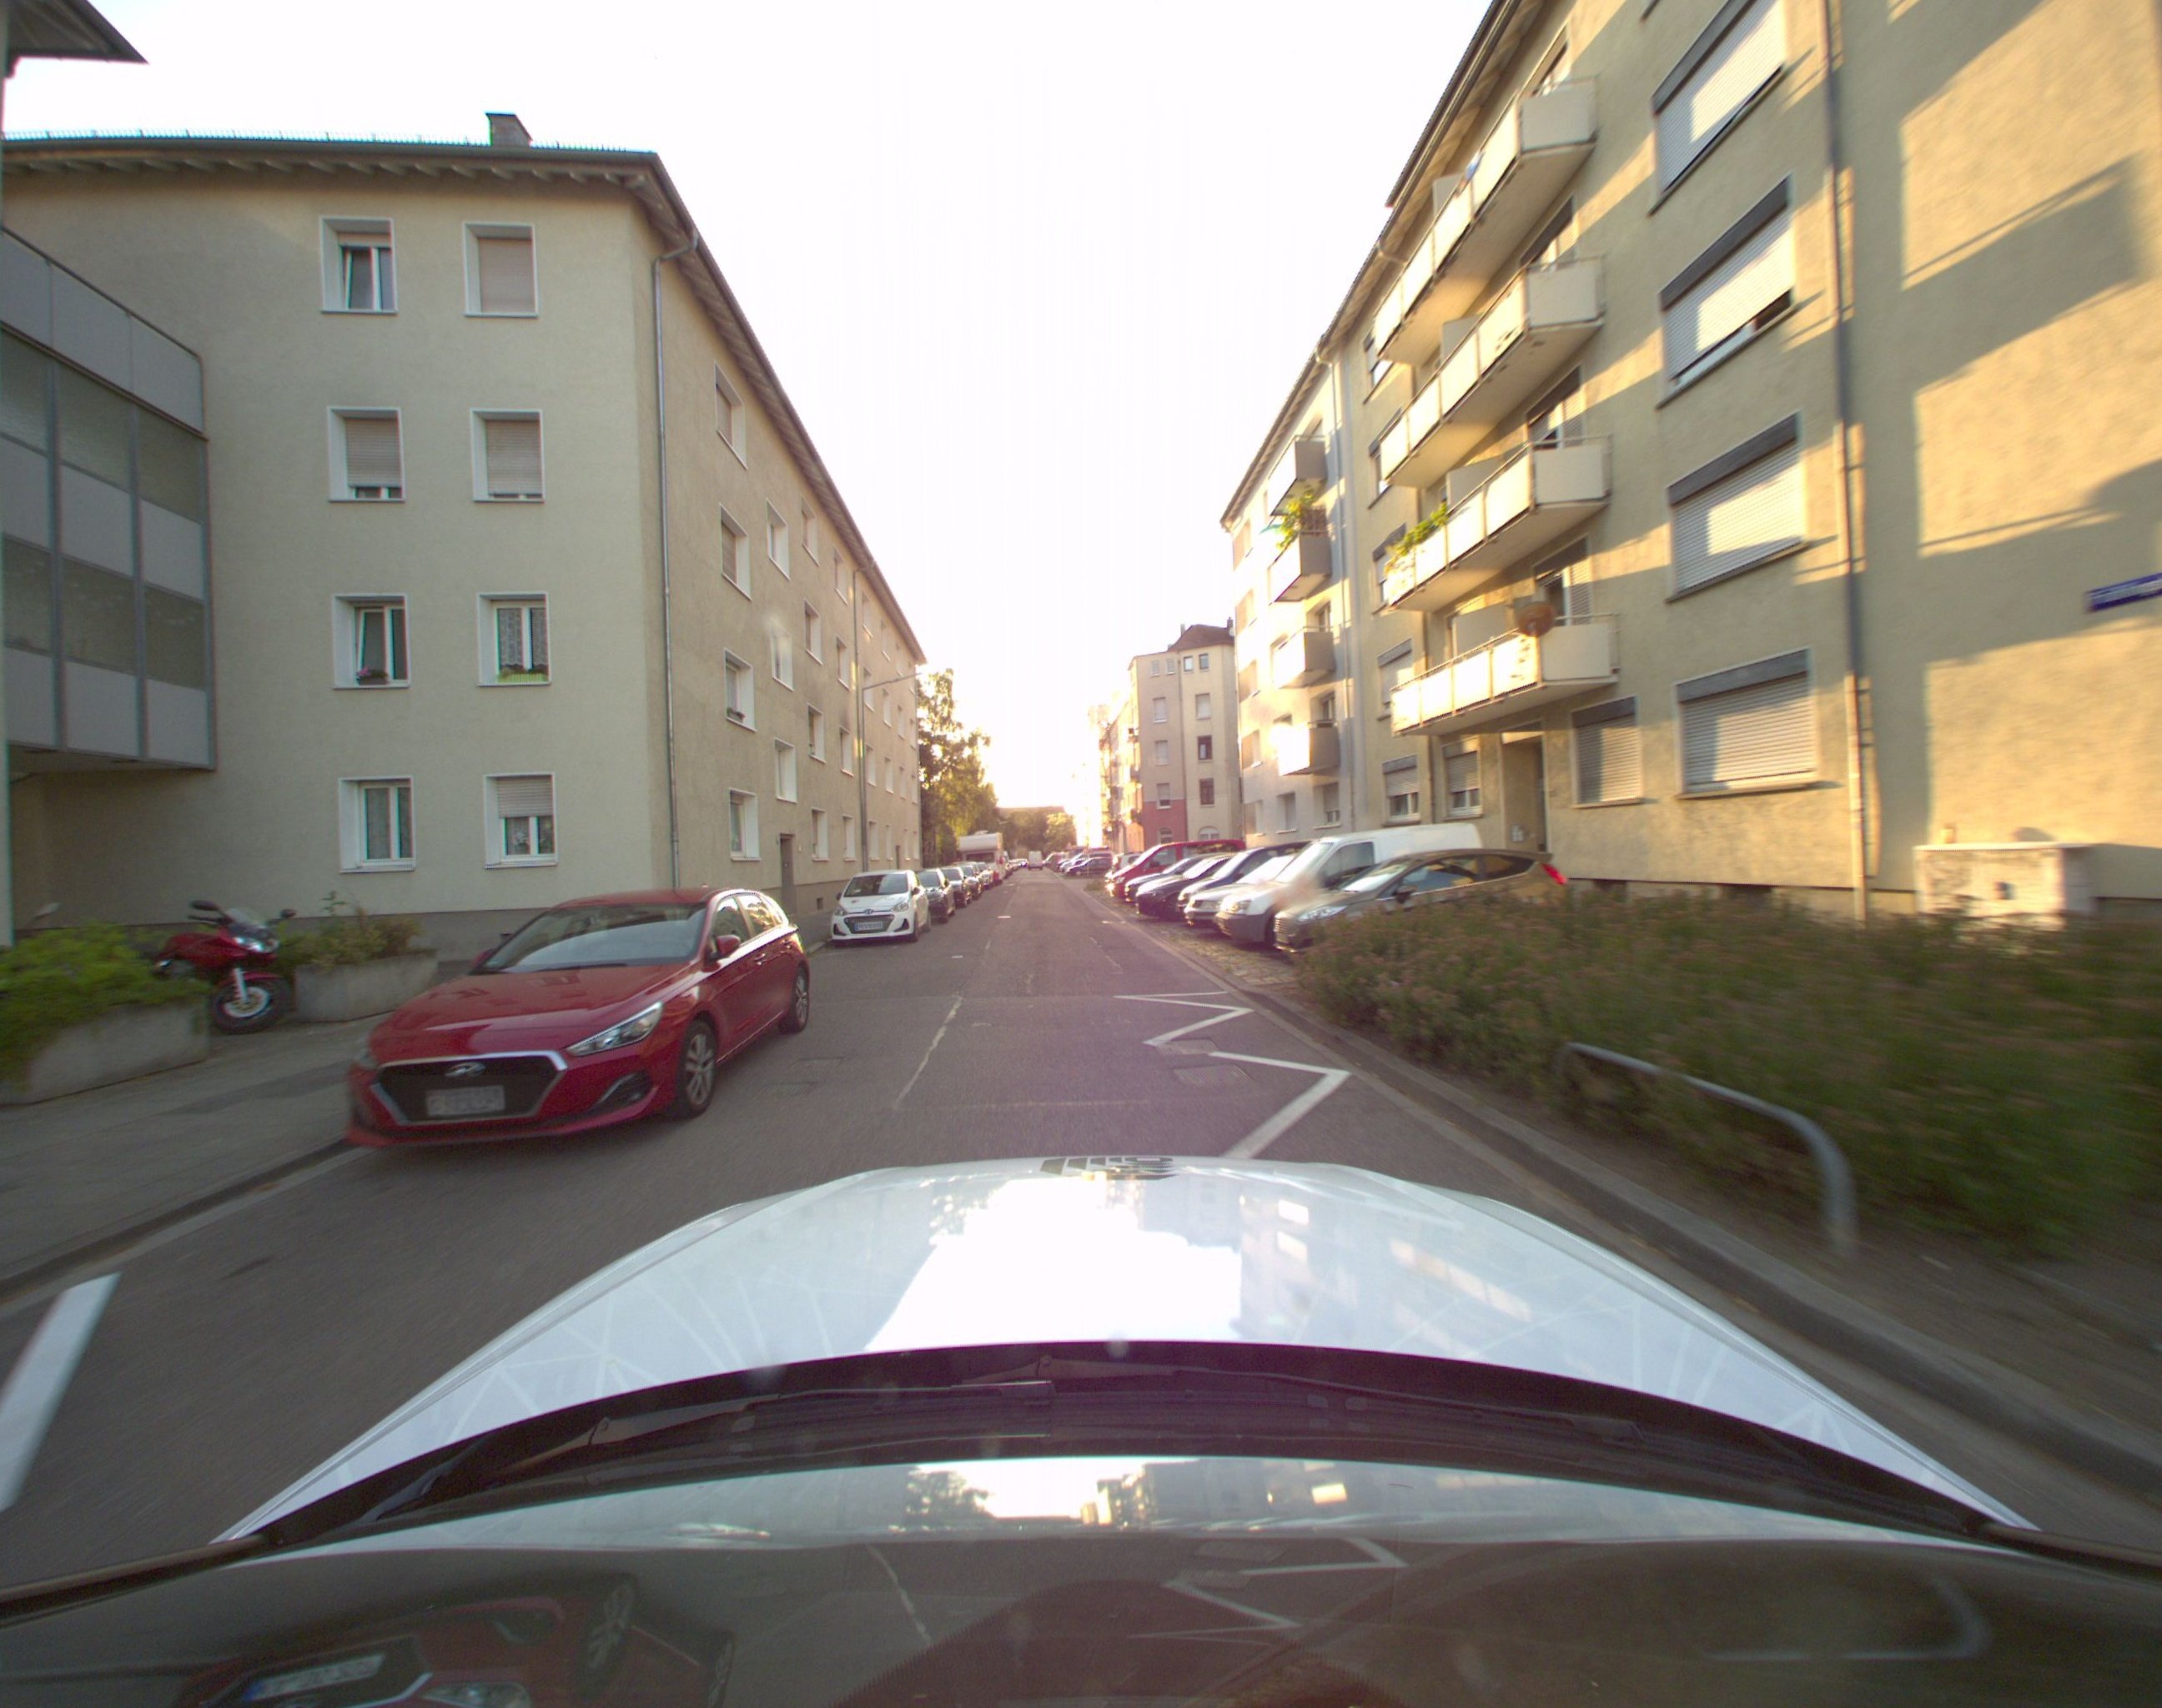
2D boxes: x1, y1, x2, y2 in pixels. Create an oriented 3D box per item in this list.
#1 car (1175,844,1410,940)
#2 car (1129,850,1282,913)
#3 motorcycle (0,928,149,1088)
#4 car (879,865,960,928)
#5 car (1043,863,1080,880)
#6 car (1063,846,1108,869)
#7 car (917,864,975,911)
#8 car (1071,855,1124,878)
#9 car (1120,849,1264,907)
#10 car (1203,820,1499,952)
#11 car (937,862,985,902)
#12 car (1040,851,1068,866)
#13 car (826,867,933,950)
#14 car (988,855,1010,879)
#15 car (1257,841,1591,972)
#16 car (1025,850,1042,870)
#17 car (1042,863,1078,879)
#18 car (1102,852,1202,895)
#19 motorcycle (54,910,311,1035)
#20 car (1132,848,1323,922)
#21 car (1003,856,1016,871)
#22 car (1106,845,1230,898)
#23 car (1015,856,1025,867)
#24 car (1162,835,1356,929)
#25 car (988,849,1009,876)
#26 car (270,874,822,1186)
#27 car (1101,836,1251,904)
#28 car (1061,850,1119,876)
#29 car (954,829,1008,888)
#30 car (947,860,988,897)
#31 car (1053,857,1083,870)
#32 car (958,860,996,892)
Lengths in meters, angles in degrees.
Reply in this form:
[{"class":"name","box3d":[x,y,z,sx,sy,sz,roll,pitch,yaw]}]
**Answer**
[{"class":"car","box3d":[3.908,0.675,15.450,3.947,1.522,1.704,-3,0,-4]},{"class":"car","box3d":[3.395,0.745,22.589,3.870,1.416,1.633,-4,-1,-6]},{"class":"motorcycle","box3d":[-8.229,1.176,5.881,0.680,1.079,2.032,-2,0,-2]},{"class":"car","box3d":[-4.373,1.106,22.581,1.657,1.434,4.024,-4,0,-5]},{"class":"car","box3d":[-2.194,1.915,90.425,3.980,1.530,1.656,-4,0,-5]},{"class":"car","box3d":[0.393,0.320,77.350,3.984,2.013,1.995,-2,0,-8]},{"class":"car","box3d":[-4.710,1.122,28.814,1.650,1.434,3.789,-4,0,-5]},{"class":"car","box3d":[1.256,0.971,64.105,3.980,1.530,1.656,-4,0,-5]},{"class":"car","box3d":[3.392,0.728,25.370,4.138,1.471,1.633,-4,-1,-5]},{"class":"car","box3d":[4.353,0.499,13.534,4.271,1.860,1.739,-2,-1,-4]},{"class":"car","box3d":[-4.925,1.133,33.876,1.650,1.434,3.869,-4,0,-5]},{"class":"car","box3d":[-4.851,0.757,146.709,4.805,2.408,1.736,-4,0,-5]},{"class":"car","box3d":[-4.220,1.076,17.515,1.613,1.473,3.498,-4,0,-5]},{"class":"car","box3d":[-6.784,1.031,67.806,1.650,1.830,3.869,-4,0,-5]},{"class":"car","box3d":[4.590,0.667,11.257,3.864,1.492,1.739,-2,0,-4]},{"class":"car","box3d":[-6.730,0.825,114.995,2.125,2.717,4.824,-4,0,-5]},{"class":"car","box3d":[-2.373,1.934,92.467,3.980,1.530,1.656,-4,0,-5]},{"class":"car","box3d":[2.850,0.792,33.290,3.805,1.428,1.632,-4,-1,-5]},{"class":"motorcycle","box3d":[-8.822,1.154,8.013,2.112,1.105,0.561,-2,0,7]},{"class":"car","box3d":[3.516,0.733,20.030,4.300,1.449,1.653,-4,-1,-4]},{"class":"car","box3d":[-9.444,1.252,107.799,1.650,1.830,3.869,-4,0,-5]},{"class":"car","box3d":[3.247,0.636,30.762,4.317,1.637,1.815,-4,-1,-5]},{"class":"car","box3d":[-10.787,1.372,144.043,1.650,1.830,3.869,-4,0,-5]},{"class":"car","box3d":[3.830,0.590,17.906,3.783,1.695,1.653,-4,-1,-4]},{"class":"car","box3d":[-7.964,0.805,78.741,1.767,2.445,5.136,-4,0,-5]},{"class":"car","box3d":[-3.479,0.972,6.388,1.842,1.473,4.071,-2,0,-5]},{"class":"car","box3d":[3.175,0.520,27.851,4.714,1.909,2.056,-4,-1,-5]},{"class":"car","box3d":[0.743,0.777,71.126,4.805,1.967,1.736,-4,0,-5]},{"class":"car","box3d":[-6.108,0.283,50.866,2.614,3.268,7.687,-4,0,-3]},{"class":"car","box3d":[-5.440,1.139,39.303,1.650,1.564,3.869,-4,0,-5]},{"class":"car","box3d":[-1.841,1.274,112.854,3.980,1.530,1.656,-4,0,-5]},{"class":"car","box3d":[-5.523,1.128,43.670,1.649,1.541,3.871,-4,0,-3]}]
